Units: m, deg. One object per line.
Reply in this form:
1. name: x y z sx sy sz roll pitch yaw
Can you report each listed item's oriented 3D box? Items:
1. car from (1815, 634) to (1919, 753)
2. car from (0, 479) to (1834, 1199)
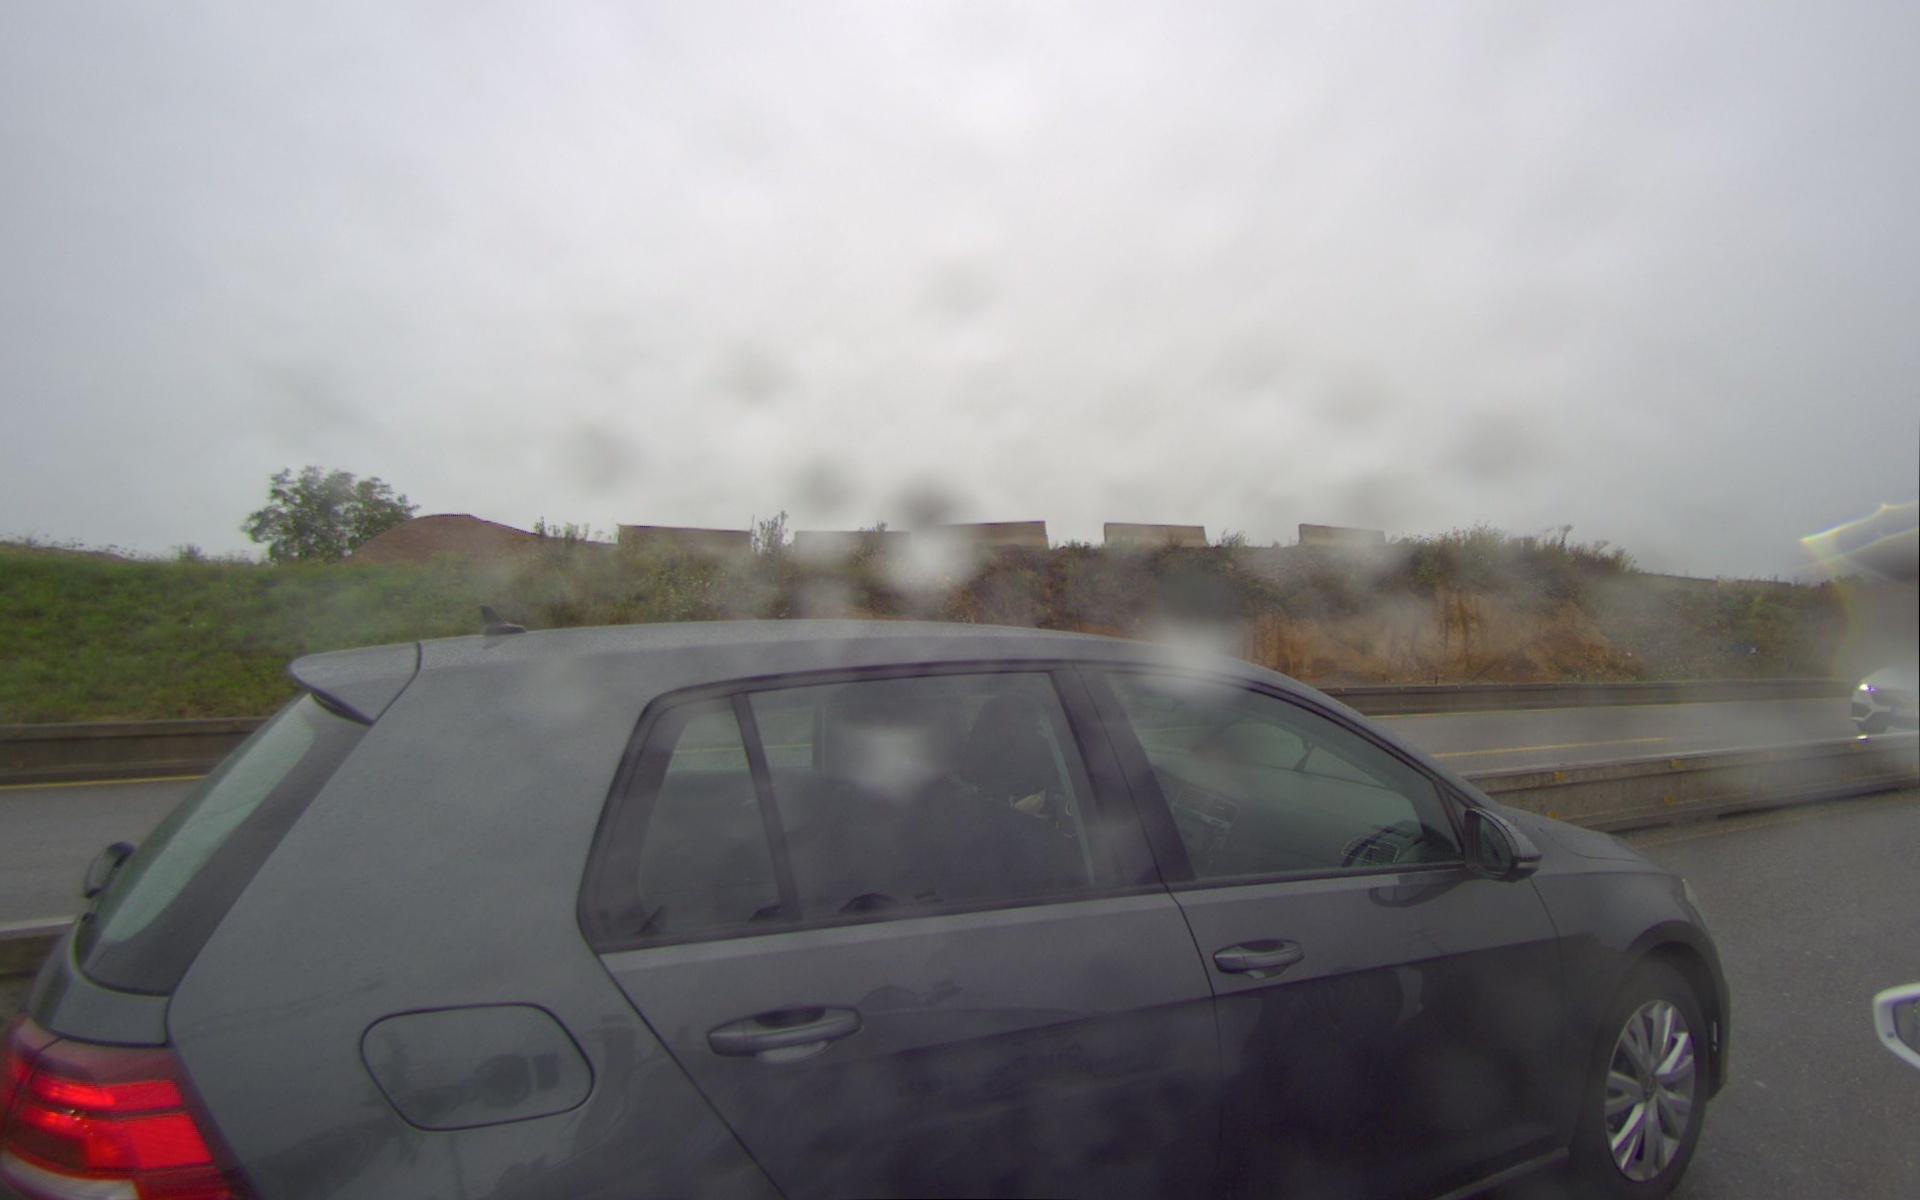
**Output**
1. car: 14.576 1.315 14.574 4.576 1.522 1.737 2 0 -28
2. car: 0.264 0.739 2.537 4.317 1.526 1.607 2 -3 -30
